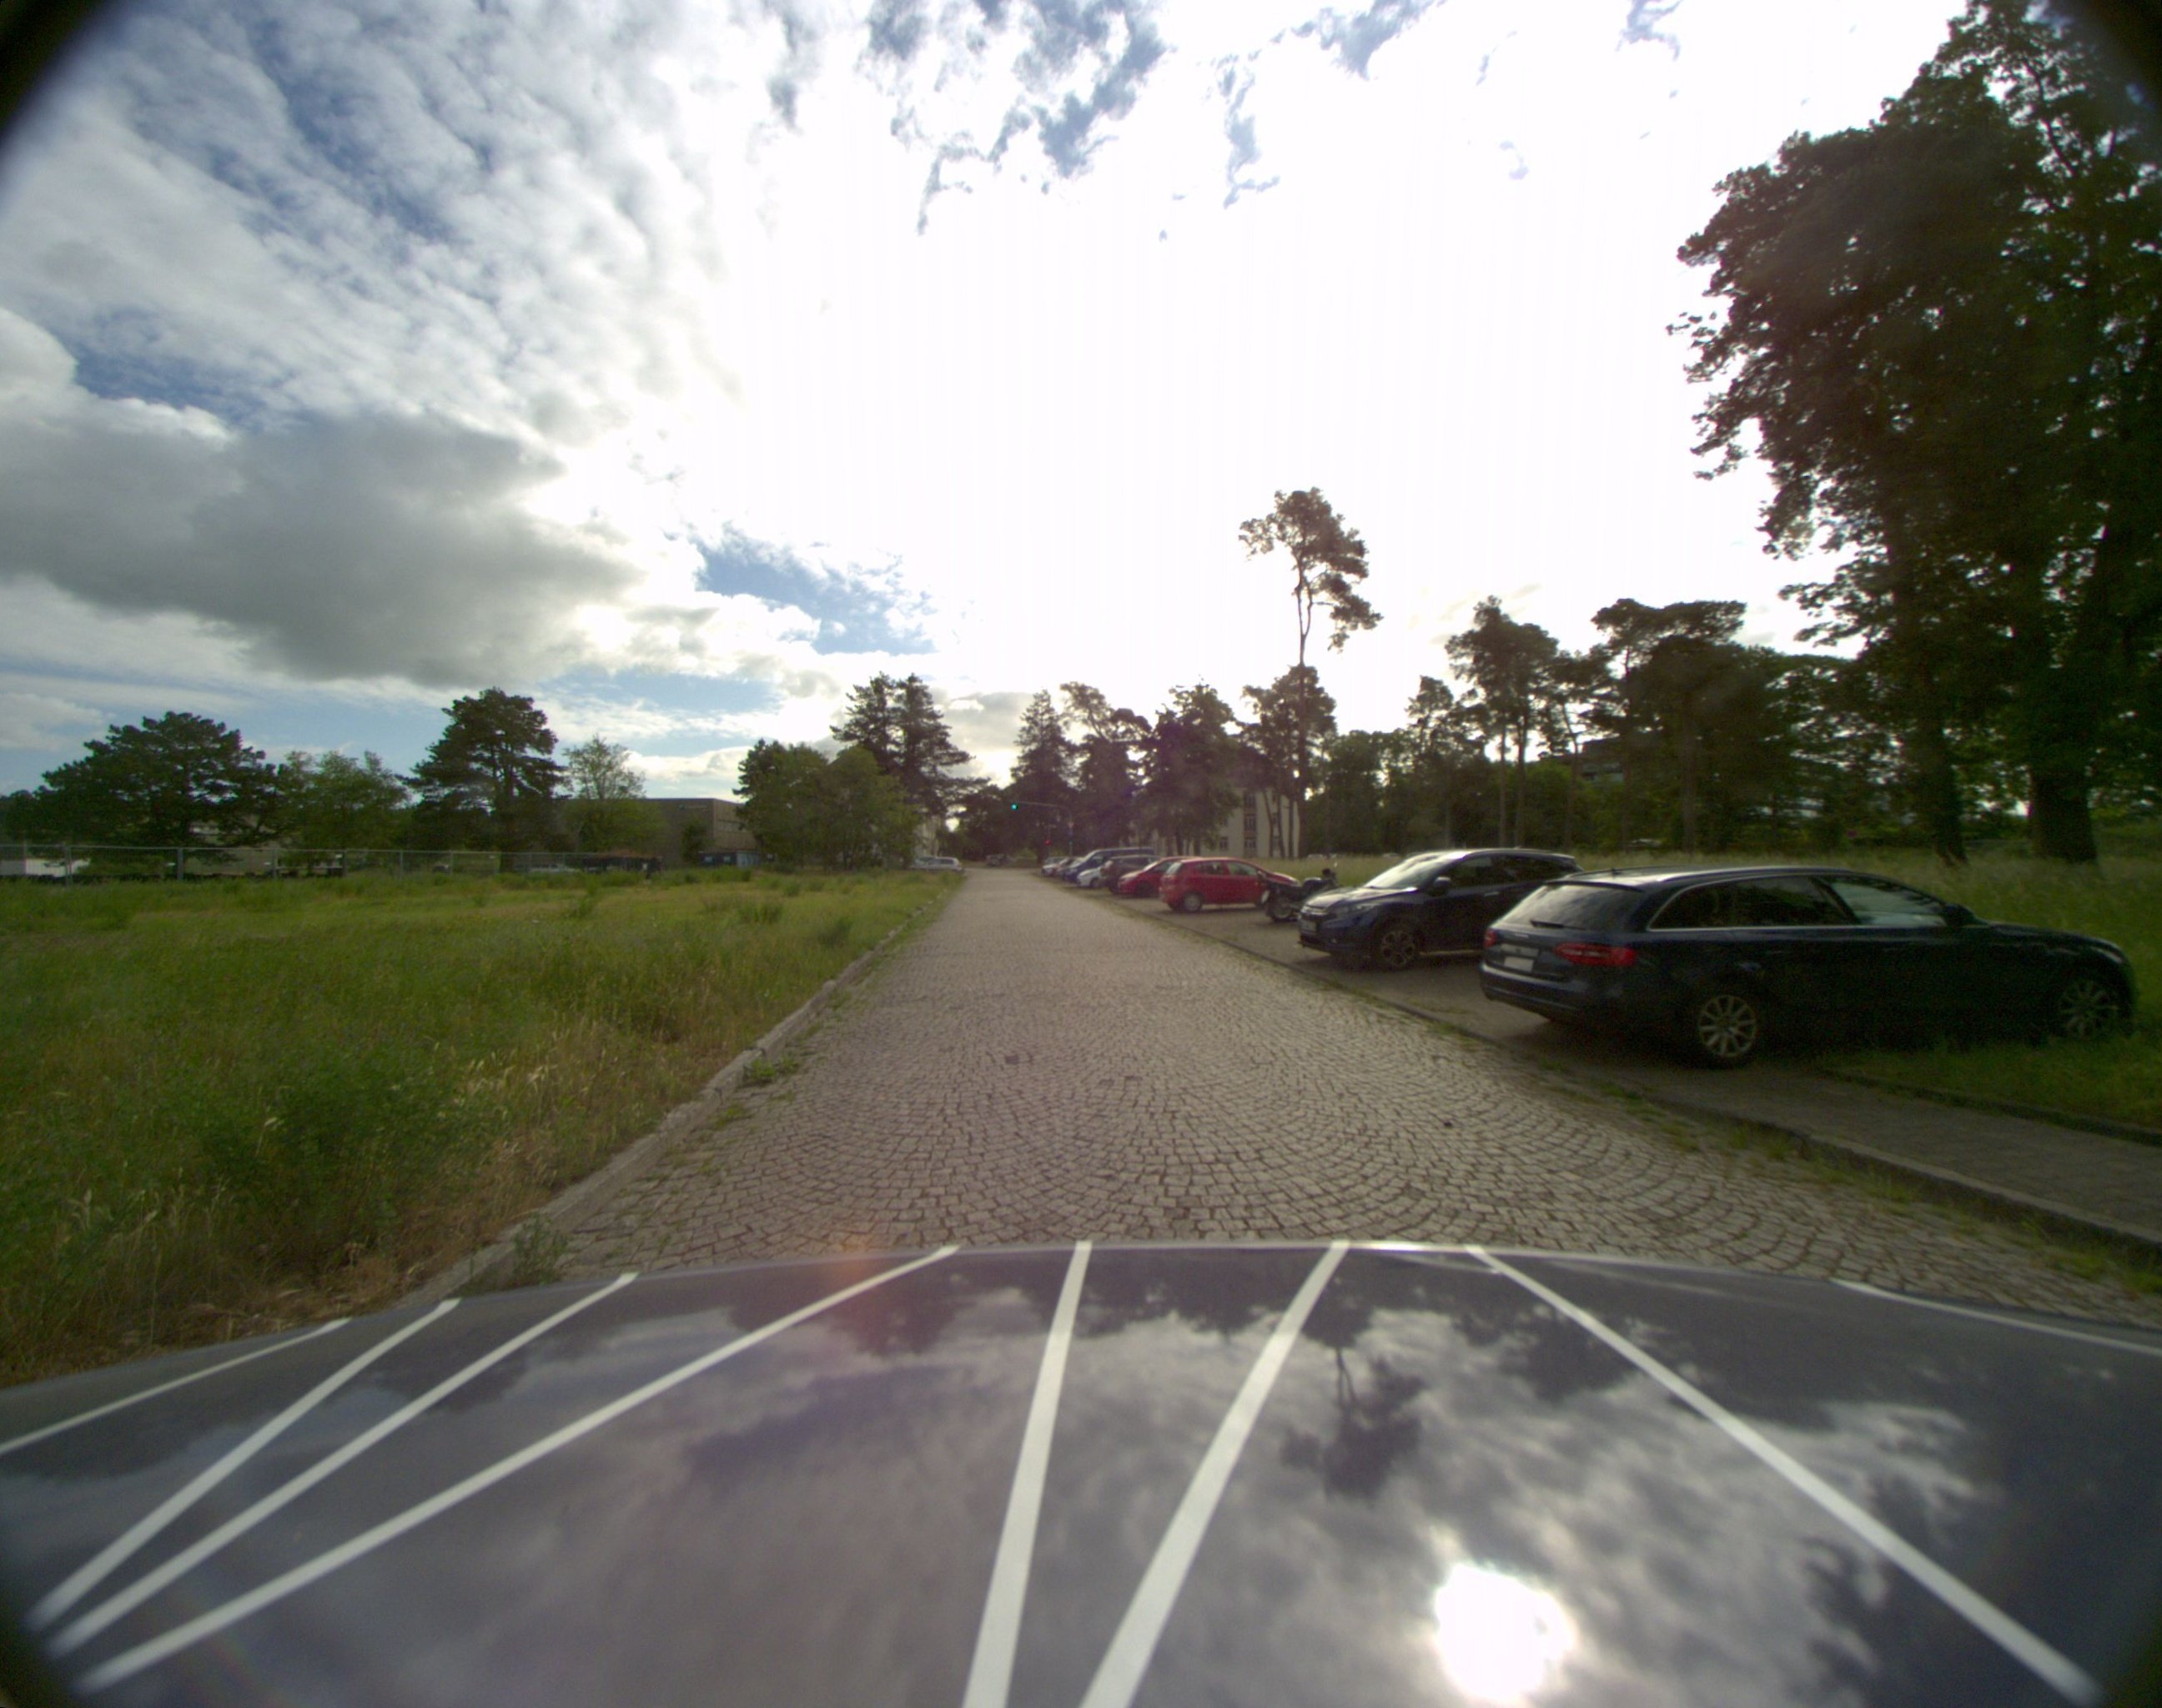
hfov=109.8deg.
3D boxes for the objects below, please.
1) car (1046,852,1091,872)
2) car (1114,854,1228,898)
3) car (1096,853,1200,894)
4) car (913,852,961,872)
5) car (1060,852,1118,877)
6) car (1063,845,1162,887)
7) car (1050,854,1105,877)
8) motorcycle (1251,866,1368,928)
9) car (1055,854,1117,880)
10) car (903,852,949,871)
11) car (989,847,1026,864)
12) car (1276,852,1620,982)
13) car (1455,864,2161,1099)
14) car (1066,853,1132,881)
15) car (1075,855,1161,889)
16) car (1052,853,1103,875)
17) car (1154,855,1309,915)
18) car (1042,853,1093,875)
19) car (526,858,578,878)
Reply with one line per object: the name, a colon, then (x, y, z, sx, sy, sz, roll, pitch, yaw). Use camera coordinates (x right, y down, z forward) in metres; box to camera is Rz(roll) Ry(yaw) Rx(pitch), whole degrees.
car: (-1.051, 0.676, 64.030, 3.457, 1.424, 1.626, -4, 2, -17)
car: (3.368, 0.819, 28.750, 3.953, 1.511, 1.706, -1, 0, -7)
car: (2.730, 0.785, 31.369, 3.919, 1.594, 1.819, -1, 0, -10)
car: (-11.620, 0.652, 61.510, 3.732, 1.430, 1.624, -3, 2, -11)
car: (0.544, 0.666, 51.434, 3.574, 1.426, 1.604, -4, 2, -14)
car: (1.632, 0.573, 40.196, 4.836, 1.855, 2.159, -4, 2, -9)
car: (-0.239, 0.813, 54.142, 3.574, 1.408, 1.636, -4, 2, -14)
motorcycle: (5.040, 0.928, 16.826, 2.363, 1.280, 0.743, -1, 1, -7)
car: (0.297, 0.821, 48.278, 3.602, 1.413, 1.616, -3, 2, -14)
car: (-13.620, 0.630, 66.702, 3.733, 1.430, 1.624, -3, 2, -15)
car: (-12.553, 0.285, 129.954, 5.800, 2.548, 2.766, -4, 2, -12)
car: (5.147, 0.808, 10.923, 4.151, 1.564, 1.788, -1, 1, -8)
car: (5.665, 0.888, 6.182, 4.444, 1.471, 1.681, -1, 0, -4)
car: (1.056, 0.766, 45.724, 3.602, 1.446, 1.685, -4, 2, -14)
car: (1.819, 0.853, 37.698, 3.932, 1.385, 1.741, -4, 2, -9)
car: (-0.272, 0.752, 56.375, 3.652, 1.341, 1.619, -3, 2, -3)
car: (4.146, 0.827, 21.199, 3.896, 1.470, 1.670, -2, 0, -8)
car: (-1.053, 0.743, 58.506, 3.575, 1.479, 1.600, -4, 2, -15)
car: (-51.263, 1.341, 73.657, 1.994, 1.892, 3.779, -2, -2, 42)
